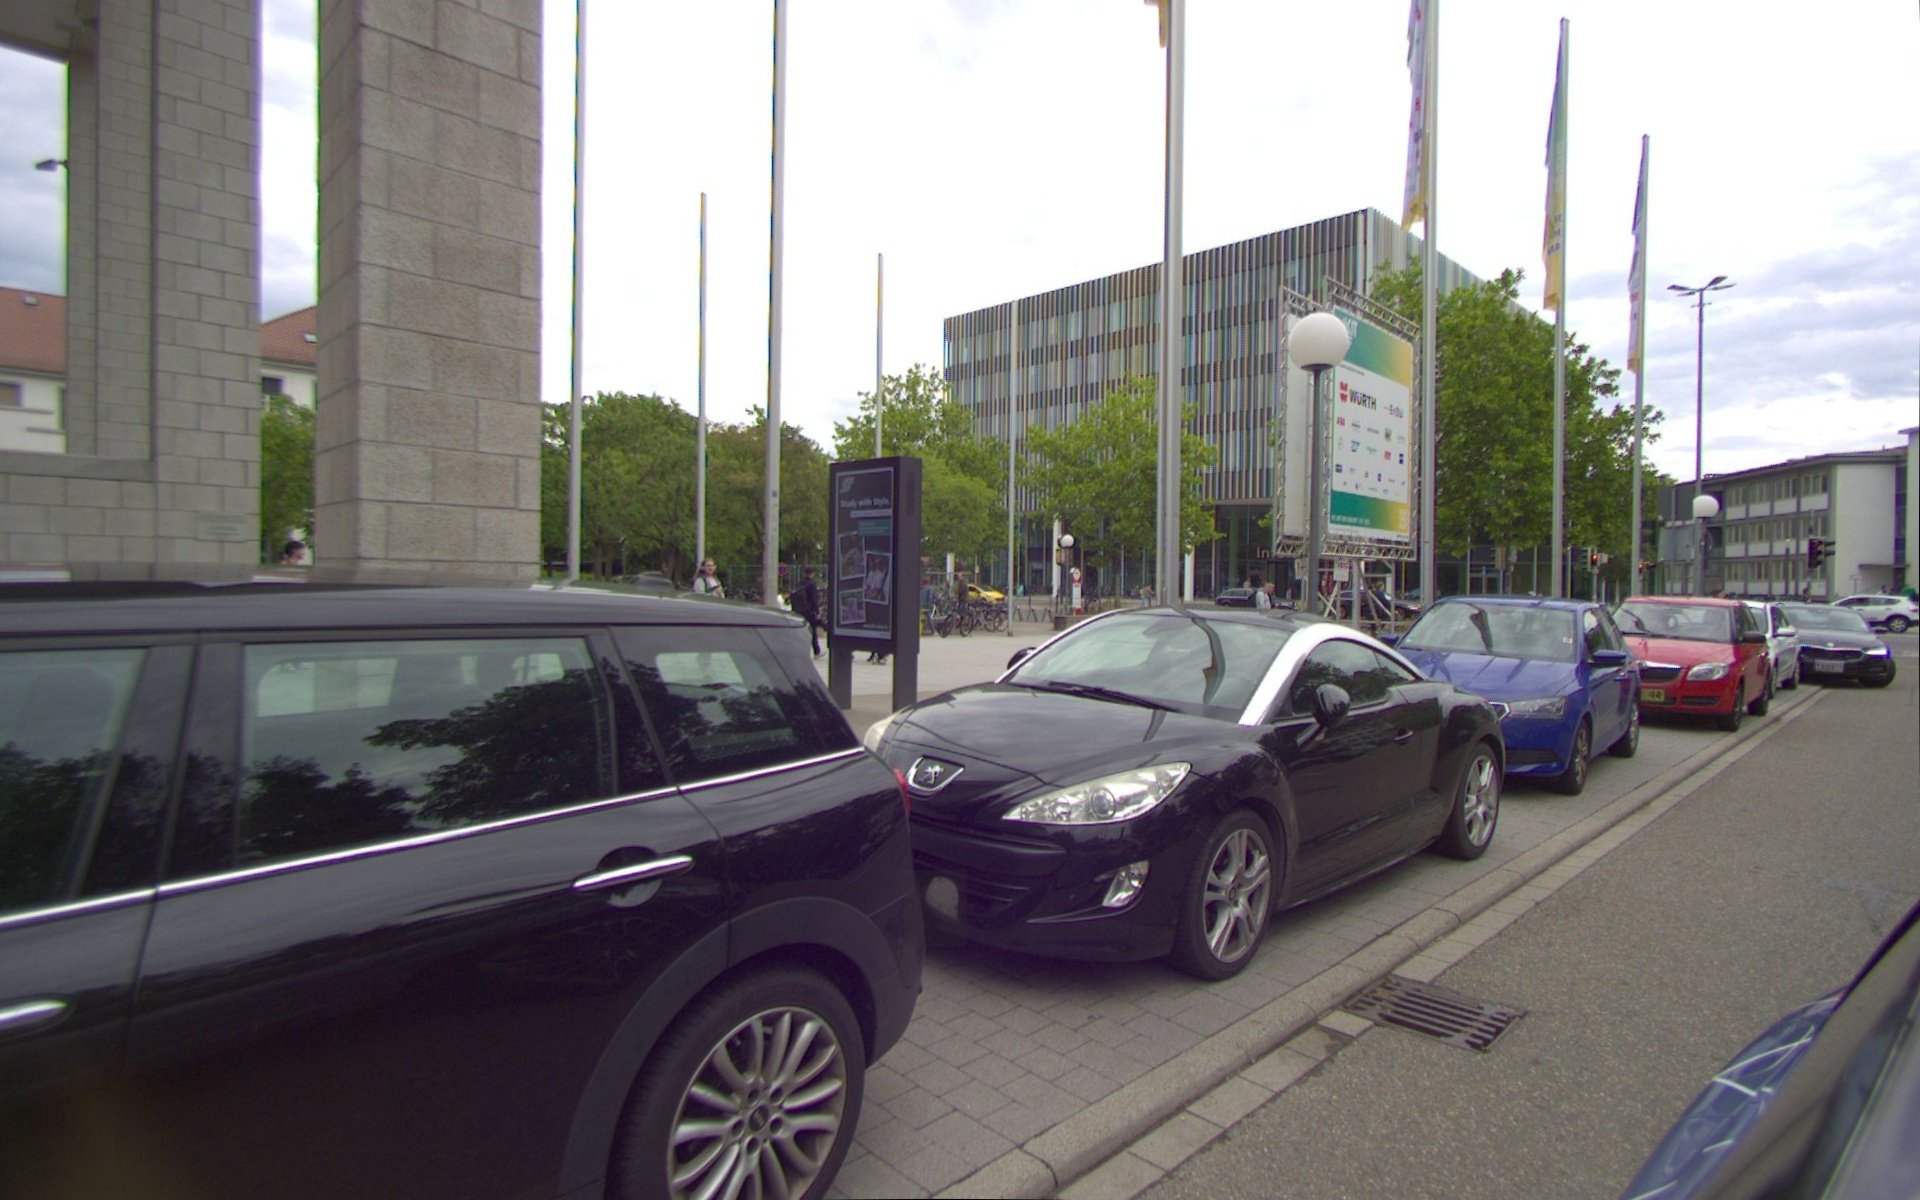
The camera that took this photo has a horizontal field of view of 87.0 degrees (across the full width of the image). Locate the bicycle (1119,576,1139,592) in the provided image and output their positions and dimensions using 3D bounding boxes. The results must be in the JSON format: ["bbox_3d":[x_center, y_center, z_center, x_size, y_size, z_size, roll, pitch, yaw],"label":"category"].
[{"bbox_3d":[14.561,-1.363,87.193,0.626,1.275,2.071,-1,-3,43],"label":"bicycle"}]

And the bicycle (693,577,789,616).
[{"bbox_3d":[-6.943,-0.126,32.280,3.056,1.184,0.746,0,1,-43],"label":"bicycle"}]

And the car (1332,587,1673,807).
[{"bbox_3d":[4.985,0.625,8.975,1.694,1.429,4.311,2,2,42],"label":"car"}]

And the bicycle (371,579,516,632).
[{"bbox_3d":[-12.677,0.165,24.955,3.055,1.185,0.746,3,-2,-43],"label":"bicycle"}]

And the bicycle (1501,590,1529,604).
[{"bbox_3d":[38.645,-0.227,70.461,0.474,0.947,2.014,0,2,-13],"label":"bicycle"}]

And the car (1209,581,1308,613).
[{"bbox_3d":[16.097,-0.184,54.722,4.824,1.683,1.969,0,0,44],"label":"car"}]

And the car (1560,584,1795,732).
[{"bbox_3d":[9.189,0.614,12.816,1.714,1.491,4.204,4,3,45],"label":"car"}]

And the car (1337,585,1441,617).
[{"bbox_3d":[20.837,0.019,49.242,1.968,1.508,4.280,-1,1,-45],"label":"car"}]

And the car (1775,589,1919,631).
[{"bbox_3d":[38.942,0.431,44.083,5.348,1.719,2.018,0,-2,40],"label":"car"}]

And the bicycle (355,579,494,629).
[{"bbox_3d":[-13.754,0.135,26.101,3.055,1.185,0.746,3,-2,-43],"label":"bicycle"}]

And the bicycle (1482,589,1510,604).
[{"bbox_3d":[37.323,-0.260,70.469,0.474,0.947,2.014,0,2,-13],"label":"bicycle"}]

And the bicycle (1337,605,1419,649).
[{"bbox_3d":[10.906,0.700,26.427,1.766,1.107,0.876,1,0,-1],"label":"bicycle"}]

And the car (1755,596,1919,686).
[{"bbox_3d":[16.721,0.695,19.517,1.855,1.419,4.422,4,2,35],"label":"car"}]

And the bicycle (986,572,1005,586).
[{"bbox_3d":[3.459,-1.992,97.764,0.626,1.275,2.071,-1,-3,43],"label":"bicycle"}]

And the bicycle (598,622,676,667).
[{"bbox_3d":[-8.112,1.104,25.509,0.455,1.062,1.907,2,1,40],"label":"bicycle"}]

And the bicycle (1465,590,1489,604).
[{"bbox_3d":[36.239,-0.244,70.978,0.537,0.948,2.012,0,1,-5],"label":"bicycle"}]

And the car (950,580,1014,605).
[{"bbox_3d":[1.485,-0.525,69.814,4.181,1.638,1.968,1,1,45],"label":"car"}]

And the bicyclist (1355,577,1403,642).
[{"bbox_3d":[10.920,0.231,26.425,0.851,1.662,0.876,1,0,-1],"label":"bicyclist"}]

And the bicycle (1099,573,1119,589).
[{"bbox_3d":[13.078,-1.637,88.697,0.626,1.275,2.071,-1,-3,43],"label":"bicycle"}]

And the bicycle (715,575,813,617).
[{"bbox_3d":[-6.061,-0.113,31.519,3.055,1.185,0.746,3,-2,-43],"label":"bicycle"}]

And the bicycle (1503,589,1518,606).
[{"bbox_3d":[34.609,-0.168,63.611,0.477,1.058,1.775,0,2,16],"label":"bicycle"}]

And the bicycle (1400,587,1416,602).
[{"bbox_3d":[31.794,-0.411,71.805,0.475,1.058,1.914,0,2,6],"label":"bicycle"}]

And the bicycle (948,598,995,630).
[{"bbox_3d":[0.399,0.471,34.588,0.455,1.062,1.907,2,1,40],"label":"bicycle"}]

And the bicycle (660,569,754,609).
[{"bbox_3d":[-8.437,-0.349,33.919,3.055,1.185,0.746,3,-2,-43],"label":"bicycle"}]

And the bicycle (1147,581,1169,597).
[{"bbox_3d":[16.671,-0.901,85.162,2.067,1.275,0.627,3,-2,-40],"label":"bicycle"}]

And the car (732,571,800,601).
[{"bbox_3d":[-11.733,-0.868,61.543,1.982,1.774,4.026,1,1,28],"label":"car"}]

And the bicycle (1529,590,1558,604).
[{"bbox_3d":[40.780,-0.230,70.738,0.474,0.947,2.014,0,2,-13],"label":"bicycle"}]

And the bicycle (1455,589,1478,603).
[{"bbox_3d":[35.513,-0.262,70.988,0.474,0.948,2.012,0,1,-5],"label":"bicycle"}]

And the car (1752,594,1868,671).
[{"bbox_3d":[19.837,0.690,23.561,4.038,1.520,1.624,-1,4,-44],"label":"car"}]

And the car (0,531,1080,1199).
[{"bbox_3d":[-1.874,0.606,1.818,1.818,1.461,4.449,3,2,44],"label":"car"}]

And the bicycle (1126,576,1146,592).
[{"bbox_3d":[15.061,-1.362,86.756,0.626,1.275,2.071,-1,-3,43],"label":"bicycle"}]

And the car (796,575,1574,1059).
[{"bbox_3d":[1.496,0.692,5.253,4.345,1.460,1.850,2,-1,-44],"label":"car"}]

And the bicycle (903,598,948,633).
[{"bbox_3d":[-1.068,0.468,31.776,0.453,1.062,1.914,2,1,31],"label":"bicycle"}]

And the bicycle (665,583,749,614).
[{"bbox_3d":[-10.755,-0.041,43.097,3.332,1.185,1.054,3,-2,-39],"label":"bicycle"}]

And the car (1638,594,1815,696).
[{"bbox_3d":[12.840,0.652,16.868,1.861,1.471,3.796,1,1,45],"label":"car"}]

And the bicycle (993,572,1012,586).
[{"bbox_3d":[4.109,-1.992,97.153,0.626,1.275,2.071,-1,-3,43],"label":"bicycle"}]
